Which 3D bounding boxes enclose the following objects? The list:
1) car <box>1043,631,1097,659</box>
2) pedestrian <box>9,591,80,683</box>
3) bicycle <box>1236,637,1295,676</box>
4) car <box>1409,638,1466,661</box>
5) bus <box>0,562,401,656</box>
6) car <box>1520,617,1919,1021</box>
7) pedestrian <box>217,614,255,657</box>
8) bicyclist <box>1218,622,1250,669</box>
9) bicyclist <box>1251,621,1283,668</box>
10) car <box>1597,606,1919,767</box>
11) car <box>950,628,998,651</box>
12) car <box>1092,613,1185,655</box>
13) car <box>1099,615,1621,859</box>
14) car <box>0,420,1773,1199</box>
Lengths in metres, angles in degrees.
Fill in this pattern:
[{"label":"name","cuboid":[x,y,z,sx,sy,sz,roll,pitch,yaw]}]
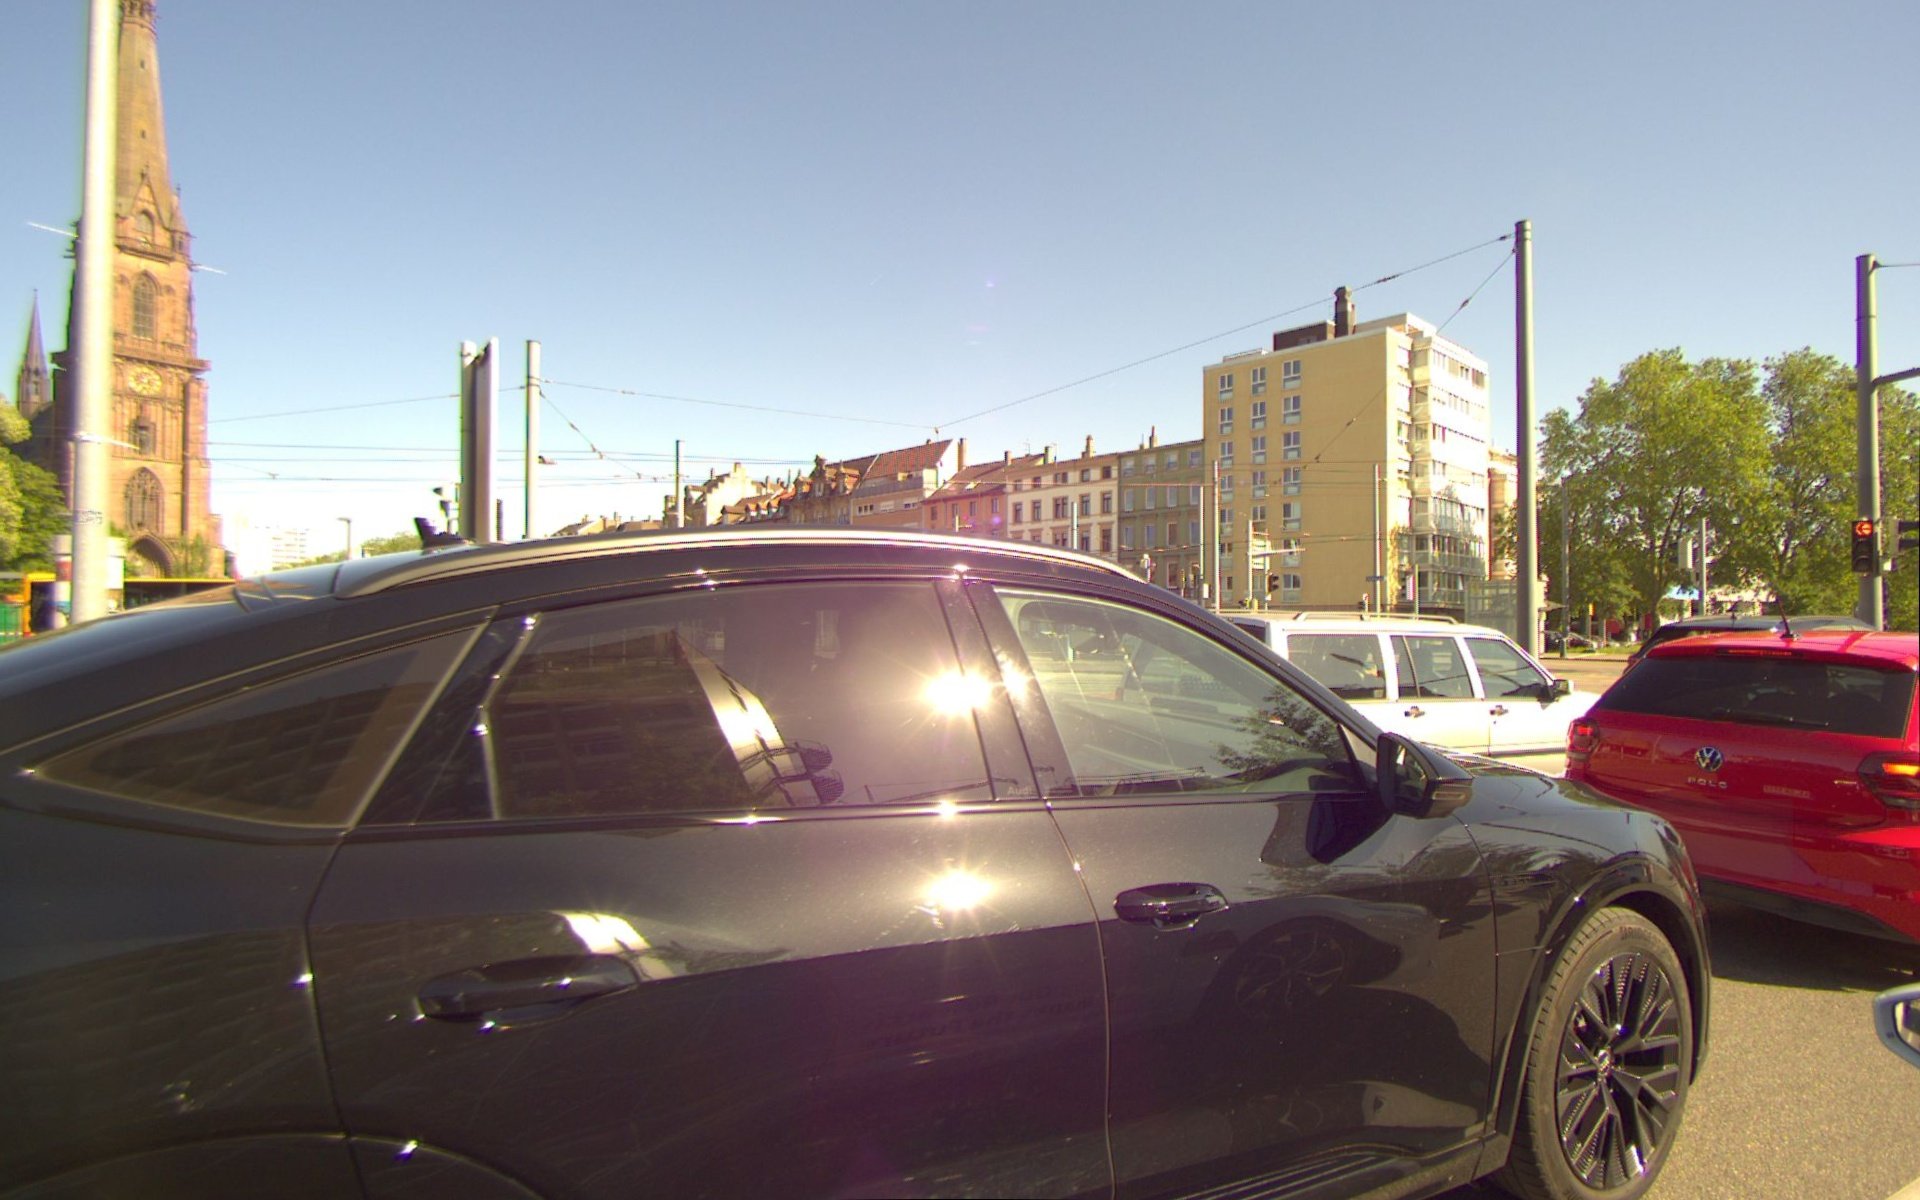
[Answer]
[{"label":"car","cuboid":[8.812,3.561,80.608,1.985,2.040,3.950,-1,0,-42]},{"label":"pedestrian","cuboid":[-18.188,0.727,19.959,0.634,1.765,0.790,2,0,13]},{"label":"bicycle","cuboid":[9.860,1.806,32.479,0.635,1.180,1.943,1,-1,-28]},{"label":"car","cuboid":[34.104,3.499,71.776,3.396,1.530,1.683,-1,-2,44]},{"label":"bus","cuboid":[-27.339,0.338,36.535,12.338,3.258,2.975,0,-1,1]},{"label":"car","cuboid":[4.920,0.867,5.267,3.673,1.462,1.666,1,1,-26]},{"label":"pedestrian","cuboid":[-24.083,1.171,33.418,0.784,1.412,0.640,0,-1,14]},{"label":"bicyclist","cuboid":[8.676,1.426,31.840,0.635,1.463,0.771,1,-1,-28]},{"label":"bicyclist","cuboid":[9.901,1.429,32.425,0.635,1.463,0.771,1,-1,-29]},{"label":"car","cuboid":[9.068,0.852,10.912,3.854,1.462,1.721,1,1,-23]},{"label":"car","cuboid":[1.190,3.327,85.866,1.985,1.795,3.951,-1,0,-42]},{"label":"car","cuboid":[10.740,2.011,60.726,1.986,2.443,5.434,2,-2,-43]},{"label":"car","cuboid":[3.094,0.868,7.687,3.751,1.461,1.718,1,-1,-28]},{"label":"car","cuboid":[-0.140,0.691,2.482,4.327,1.645,1.974,1,0,-31]}]
